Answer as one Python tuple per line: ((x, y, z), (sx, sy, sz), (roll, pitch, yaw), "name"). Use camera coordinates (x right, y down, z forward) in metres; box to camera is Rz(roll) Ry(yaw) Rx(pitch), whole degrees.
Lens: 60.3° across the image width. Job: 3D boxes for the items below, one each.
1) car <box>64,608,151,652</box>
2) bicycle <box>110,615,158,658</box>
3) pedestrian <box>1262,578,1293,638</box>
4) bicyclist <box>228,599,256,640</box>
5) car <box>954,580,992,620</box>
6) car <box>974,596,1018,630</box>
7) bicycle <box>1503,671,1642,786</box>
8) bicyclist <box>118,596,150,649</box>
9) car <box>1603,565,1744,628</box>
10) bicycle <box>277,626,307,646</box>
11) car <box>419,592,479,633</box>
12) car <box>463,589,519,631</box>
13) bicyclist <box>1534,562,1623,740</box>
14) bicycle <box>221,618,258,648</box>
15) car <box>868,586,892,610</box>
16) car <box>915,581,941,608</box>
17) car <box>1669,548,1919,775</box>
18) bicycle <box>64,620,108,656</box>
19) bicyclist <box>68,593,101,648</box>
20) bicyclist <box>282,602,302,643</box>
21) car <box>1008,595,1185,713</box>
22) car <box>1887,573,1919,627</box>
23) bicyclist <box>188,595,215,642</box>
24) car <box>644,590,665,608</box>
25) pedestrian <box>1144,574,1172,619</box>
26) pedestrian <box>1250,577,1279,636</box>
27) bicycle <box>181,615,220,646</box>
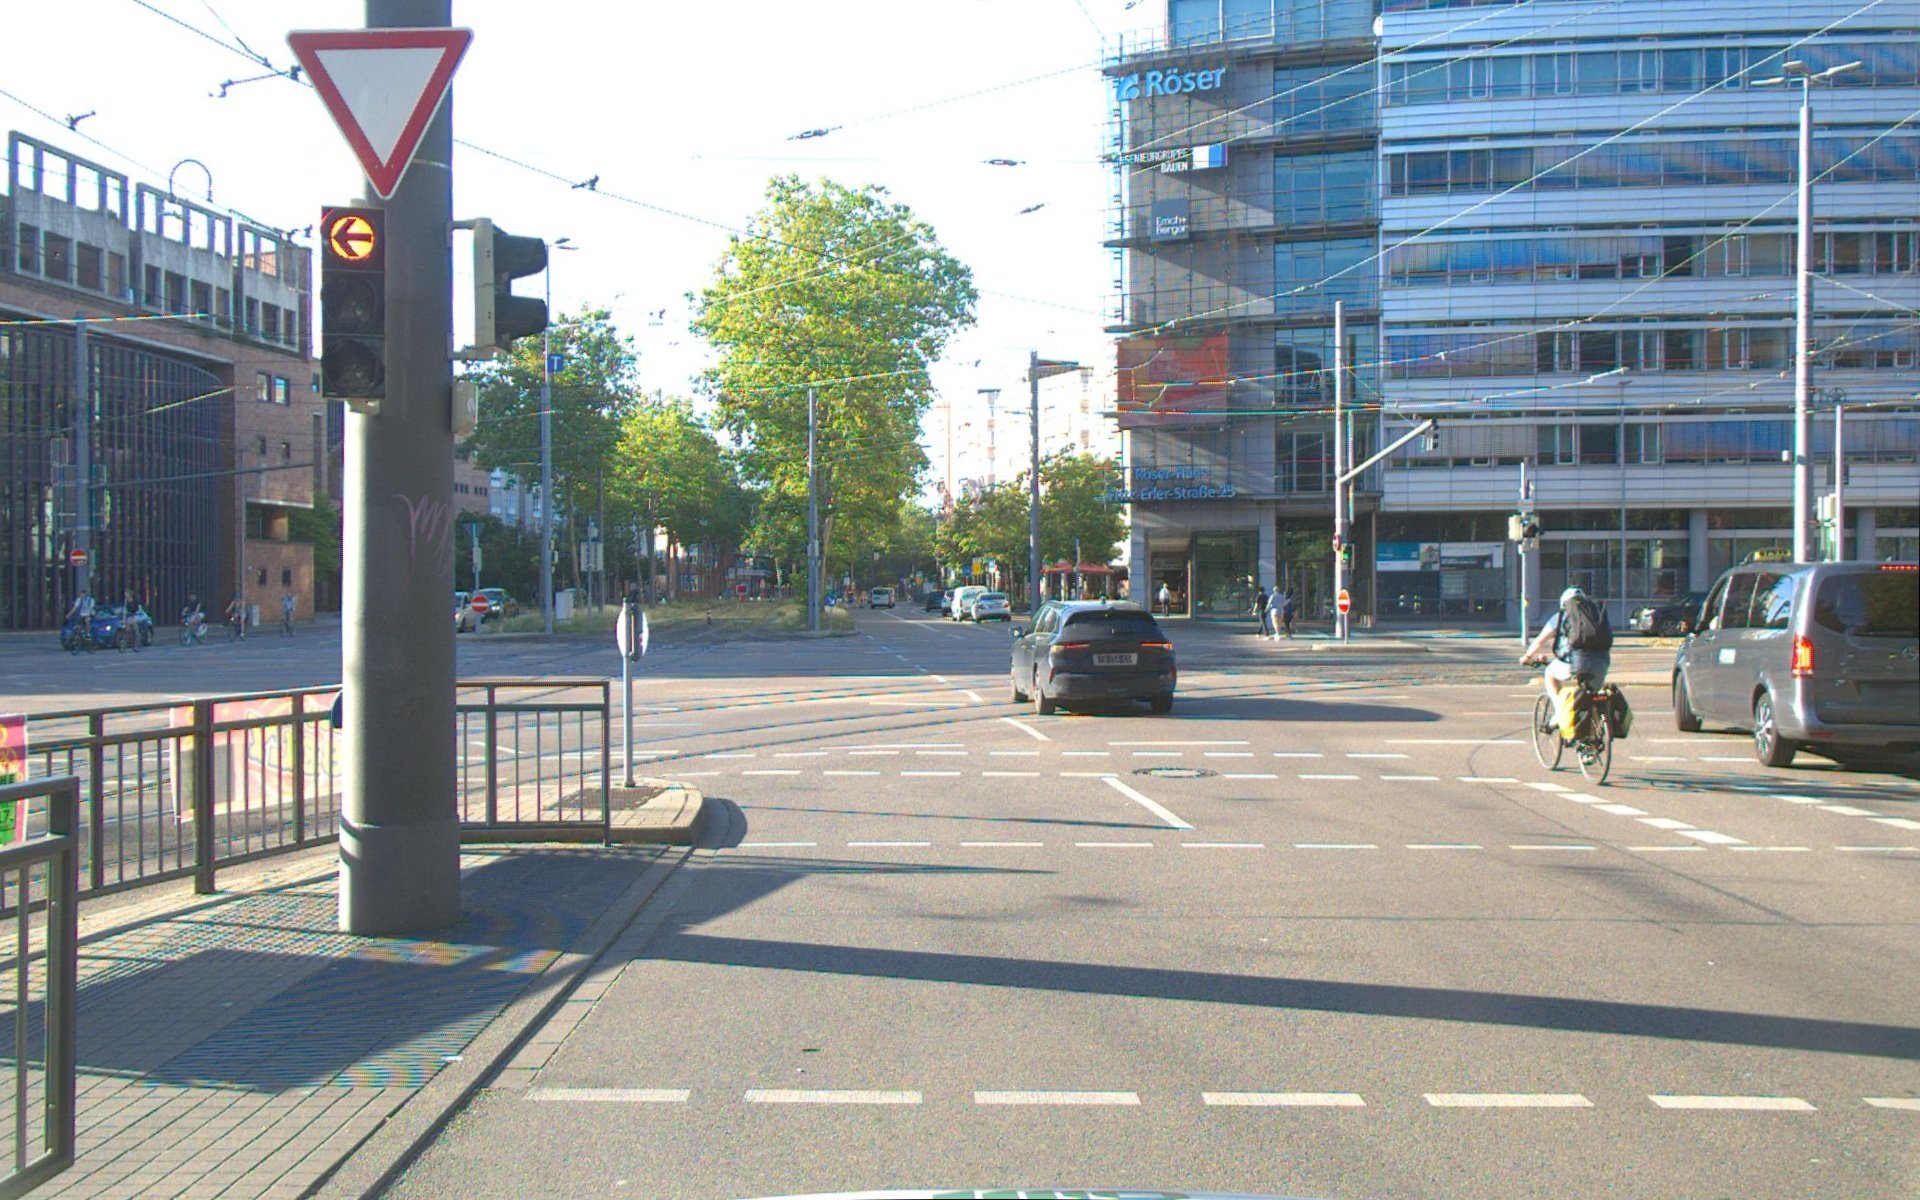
((-28.845, 0.994, 56.058), (1.552, 1.400, 3.707), (-1, 0, -10), "car")
((-24.959, 1.078, 50.029), (0.672, 1.162, 2.106), (-1, 2, -10), "bicycle")
((10.835, 0.272, 56.424), (0.852, 2.049, 0.793), (1, -1, -1), "pedestrian")
((-26.569, 0.708, 61.219), (0.640, 1.500, 1.031), (0, 0, -6), "bicyclist")
((0.693, 0.002, 89.665), (1.953, 2.049, 3.999), (1, 0, -1), "car")
((1.779, 0.649, 82.841), (1.988, 1.624, 3.999), (1, 0, -1), "car")
((5.238, 1.076, 14.248), (0.481, 0.802, 1.861), (1, 1, -1), "bicycle")
((-24.958, 0.675, 49.986), (0.669, 1.587, 0.757), (-1, 0, -10), "bicyclist")
((24.245, -0.102, 56.295), (3.906, 2.049, 2.000), (1, 0, -1), "car")
((-27.005, 1.449, 66.876), (0.578, 0.784, 1.966), (-1, 0, -5), "bicycle")
((-20.665, 0.478, 66.967), (1.591, 1.604, 3.994), (-1, 0, -7), "car")
((-21.096, 0.420, 74.496), (1.787, 1.821, 3.994), (-1, 0, -7), "car")
((5.253, 0.421, 14.073), (0.477, 1.464, 0.615), (2, 0, -1), "bicyclist")
((-26.547, 1.200, 60.946), (0.639, 1.068, 2.010), (0, 0, -6), "bicycle")
((-7.220, -0.149, 149.966), (1.952, 2.049, 3.999), (1, -2, 0), "car")
((-2.426, -0.412, 126.589), (1.953, 2.049, 3.999), (1, 0, -1), "car")
((8.612, 0.501, 16.439), (1.958, 1.929, 4.887), (0, 1, 12), "car")
((-26.108, 1.137, 49.412), (0.641, 1.016, 1.896), (-1, 0, -11), "bicycle")
((-26.080, 0.607, 49.283), (0.649, 1.602, 0.756), (-1, 0, -11), "bicyclist")
((-27.001, 0.909, 66.851), (0.575, 1.654, 0.514), (-1, 0, -6), "bicyclist")
((1.734, 0.656, 22.353), (1.729, 1.429, 4.292), (0, 0, -5), "car")
((30.242, 0.032, 49.543), (3.903, 1.579, 1.798), (1, 0, 4), "car")
((-26.250, 0.647, 57.226), (0.648, 1.597, 0.757), (-1, 0, -8), "bicyclist")
((-28.730, -0.100, 155.696), (1.644, 1.635, 3.994), (1, 0, -7), "car")
((9.848, -0.158, 82.332), (1.285, 2.228, 1.171), (1, 0, 5), "pedestrian")
((10.715, 0.238, 58.197), (0.832, 2.049, 0.707), (1, -1, -4), "pedestrian")
((-26.272, 1.041, 57.250), (0.680, 1.016, 1.898), (-1, 0, -8), "bicycle")
